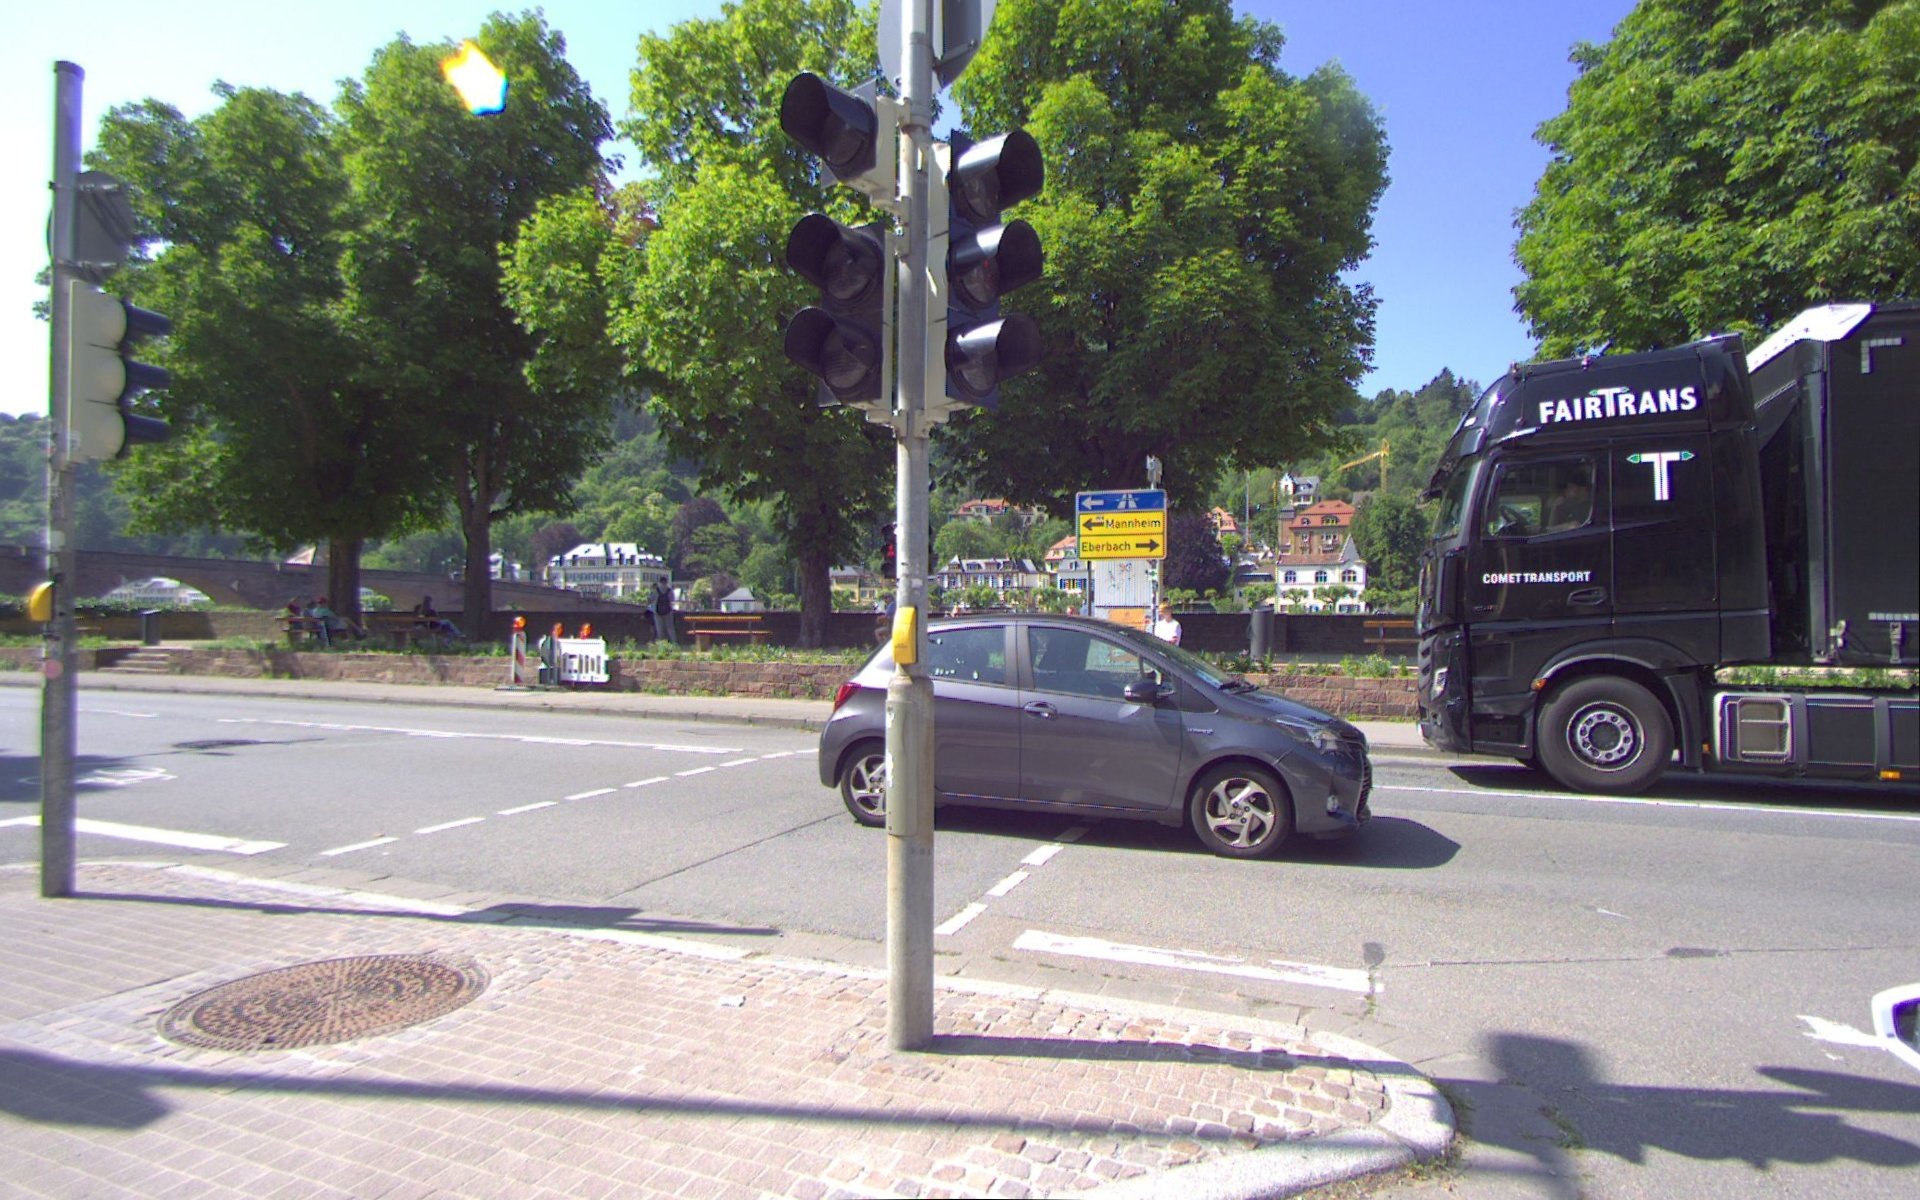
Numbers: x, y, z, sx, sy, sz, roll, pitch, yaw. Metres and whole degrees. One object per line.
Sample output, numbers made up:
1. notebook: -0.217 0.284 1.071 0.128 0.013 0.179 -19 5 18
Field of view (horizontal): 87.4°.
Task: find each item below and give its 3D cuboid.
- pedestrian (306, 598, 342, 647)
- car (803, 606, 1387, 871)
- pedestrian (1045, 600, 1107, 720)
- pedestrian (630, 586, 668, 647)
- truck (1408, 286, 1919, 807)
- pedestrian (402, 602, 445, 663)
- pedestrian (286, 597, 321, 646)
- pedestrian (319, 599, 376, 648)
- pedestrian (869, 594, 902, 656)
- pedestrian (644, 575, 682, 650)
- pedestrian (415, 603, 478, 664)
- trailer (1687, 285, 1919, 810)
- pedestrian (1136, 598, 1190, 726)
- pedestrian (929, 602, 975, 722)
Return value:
1. pedestrian: -17.020 0.609 26.878 0.460 1.287 0.631 0 -2 26
2. car: 0.976 0.838 7.284 3.804 1.518 1.728 0 -2 20
3. pedestrian: 1.787 0.919 15.520 0.707 1.793 0.687 1 -2 -21
4. pedestrian: -9.046 0.481 29.271 0.696 1.754 0.757 1 -2 17
5. truck: 7.504 -0.352 9.449 5.816 4.124 2.840 0 -3 21
6. pedestrian: -13.575 0.823 25.432 0.460 1.512 0.804 0 -2 25
7. pedestrian: -17.805 0.588 27.253 0.460 1.287 0.631 0 -2 26
8. pedestrian: -16.402 0.633 26.934 0.460 1.287 1.223 0 -2 25
9. pedestrian: -1.510 0.513 20.435 0.630 1.244 0.414 -1 -4 0
10. pedestrian: -7.619 0.325 25.819 0.751 1.882 0.756 2 -2 -7
11. pedestrian: -12.984 0.852 25.433 0.460 1.499 1.384 0 -2 25
12. trailer: 13.688 -0.368 7.095 13.502 4.157 2.843 0 -3 21
13. pedestrian: 2.992 0.891 14.761 0.691 1.825 0.580 0 -2 19
14. pedestrian: -0.122 0.960 16.003 0.621 1.826 0.724 2 2 4
